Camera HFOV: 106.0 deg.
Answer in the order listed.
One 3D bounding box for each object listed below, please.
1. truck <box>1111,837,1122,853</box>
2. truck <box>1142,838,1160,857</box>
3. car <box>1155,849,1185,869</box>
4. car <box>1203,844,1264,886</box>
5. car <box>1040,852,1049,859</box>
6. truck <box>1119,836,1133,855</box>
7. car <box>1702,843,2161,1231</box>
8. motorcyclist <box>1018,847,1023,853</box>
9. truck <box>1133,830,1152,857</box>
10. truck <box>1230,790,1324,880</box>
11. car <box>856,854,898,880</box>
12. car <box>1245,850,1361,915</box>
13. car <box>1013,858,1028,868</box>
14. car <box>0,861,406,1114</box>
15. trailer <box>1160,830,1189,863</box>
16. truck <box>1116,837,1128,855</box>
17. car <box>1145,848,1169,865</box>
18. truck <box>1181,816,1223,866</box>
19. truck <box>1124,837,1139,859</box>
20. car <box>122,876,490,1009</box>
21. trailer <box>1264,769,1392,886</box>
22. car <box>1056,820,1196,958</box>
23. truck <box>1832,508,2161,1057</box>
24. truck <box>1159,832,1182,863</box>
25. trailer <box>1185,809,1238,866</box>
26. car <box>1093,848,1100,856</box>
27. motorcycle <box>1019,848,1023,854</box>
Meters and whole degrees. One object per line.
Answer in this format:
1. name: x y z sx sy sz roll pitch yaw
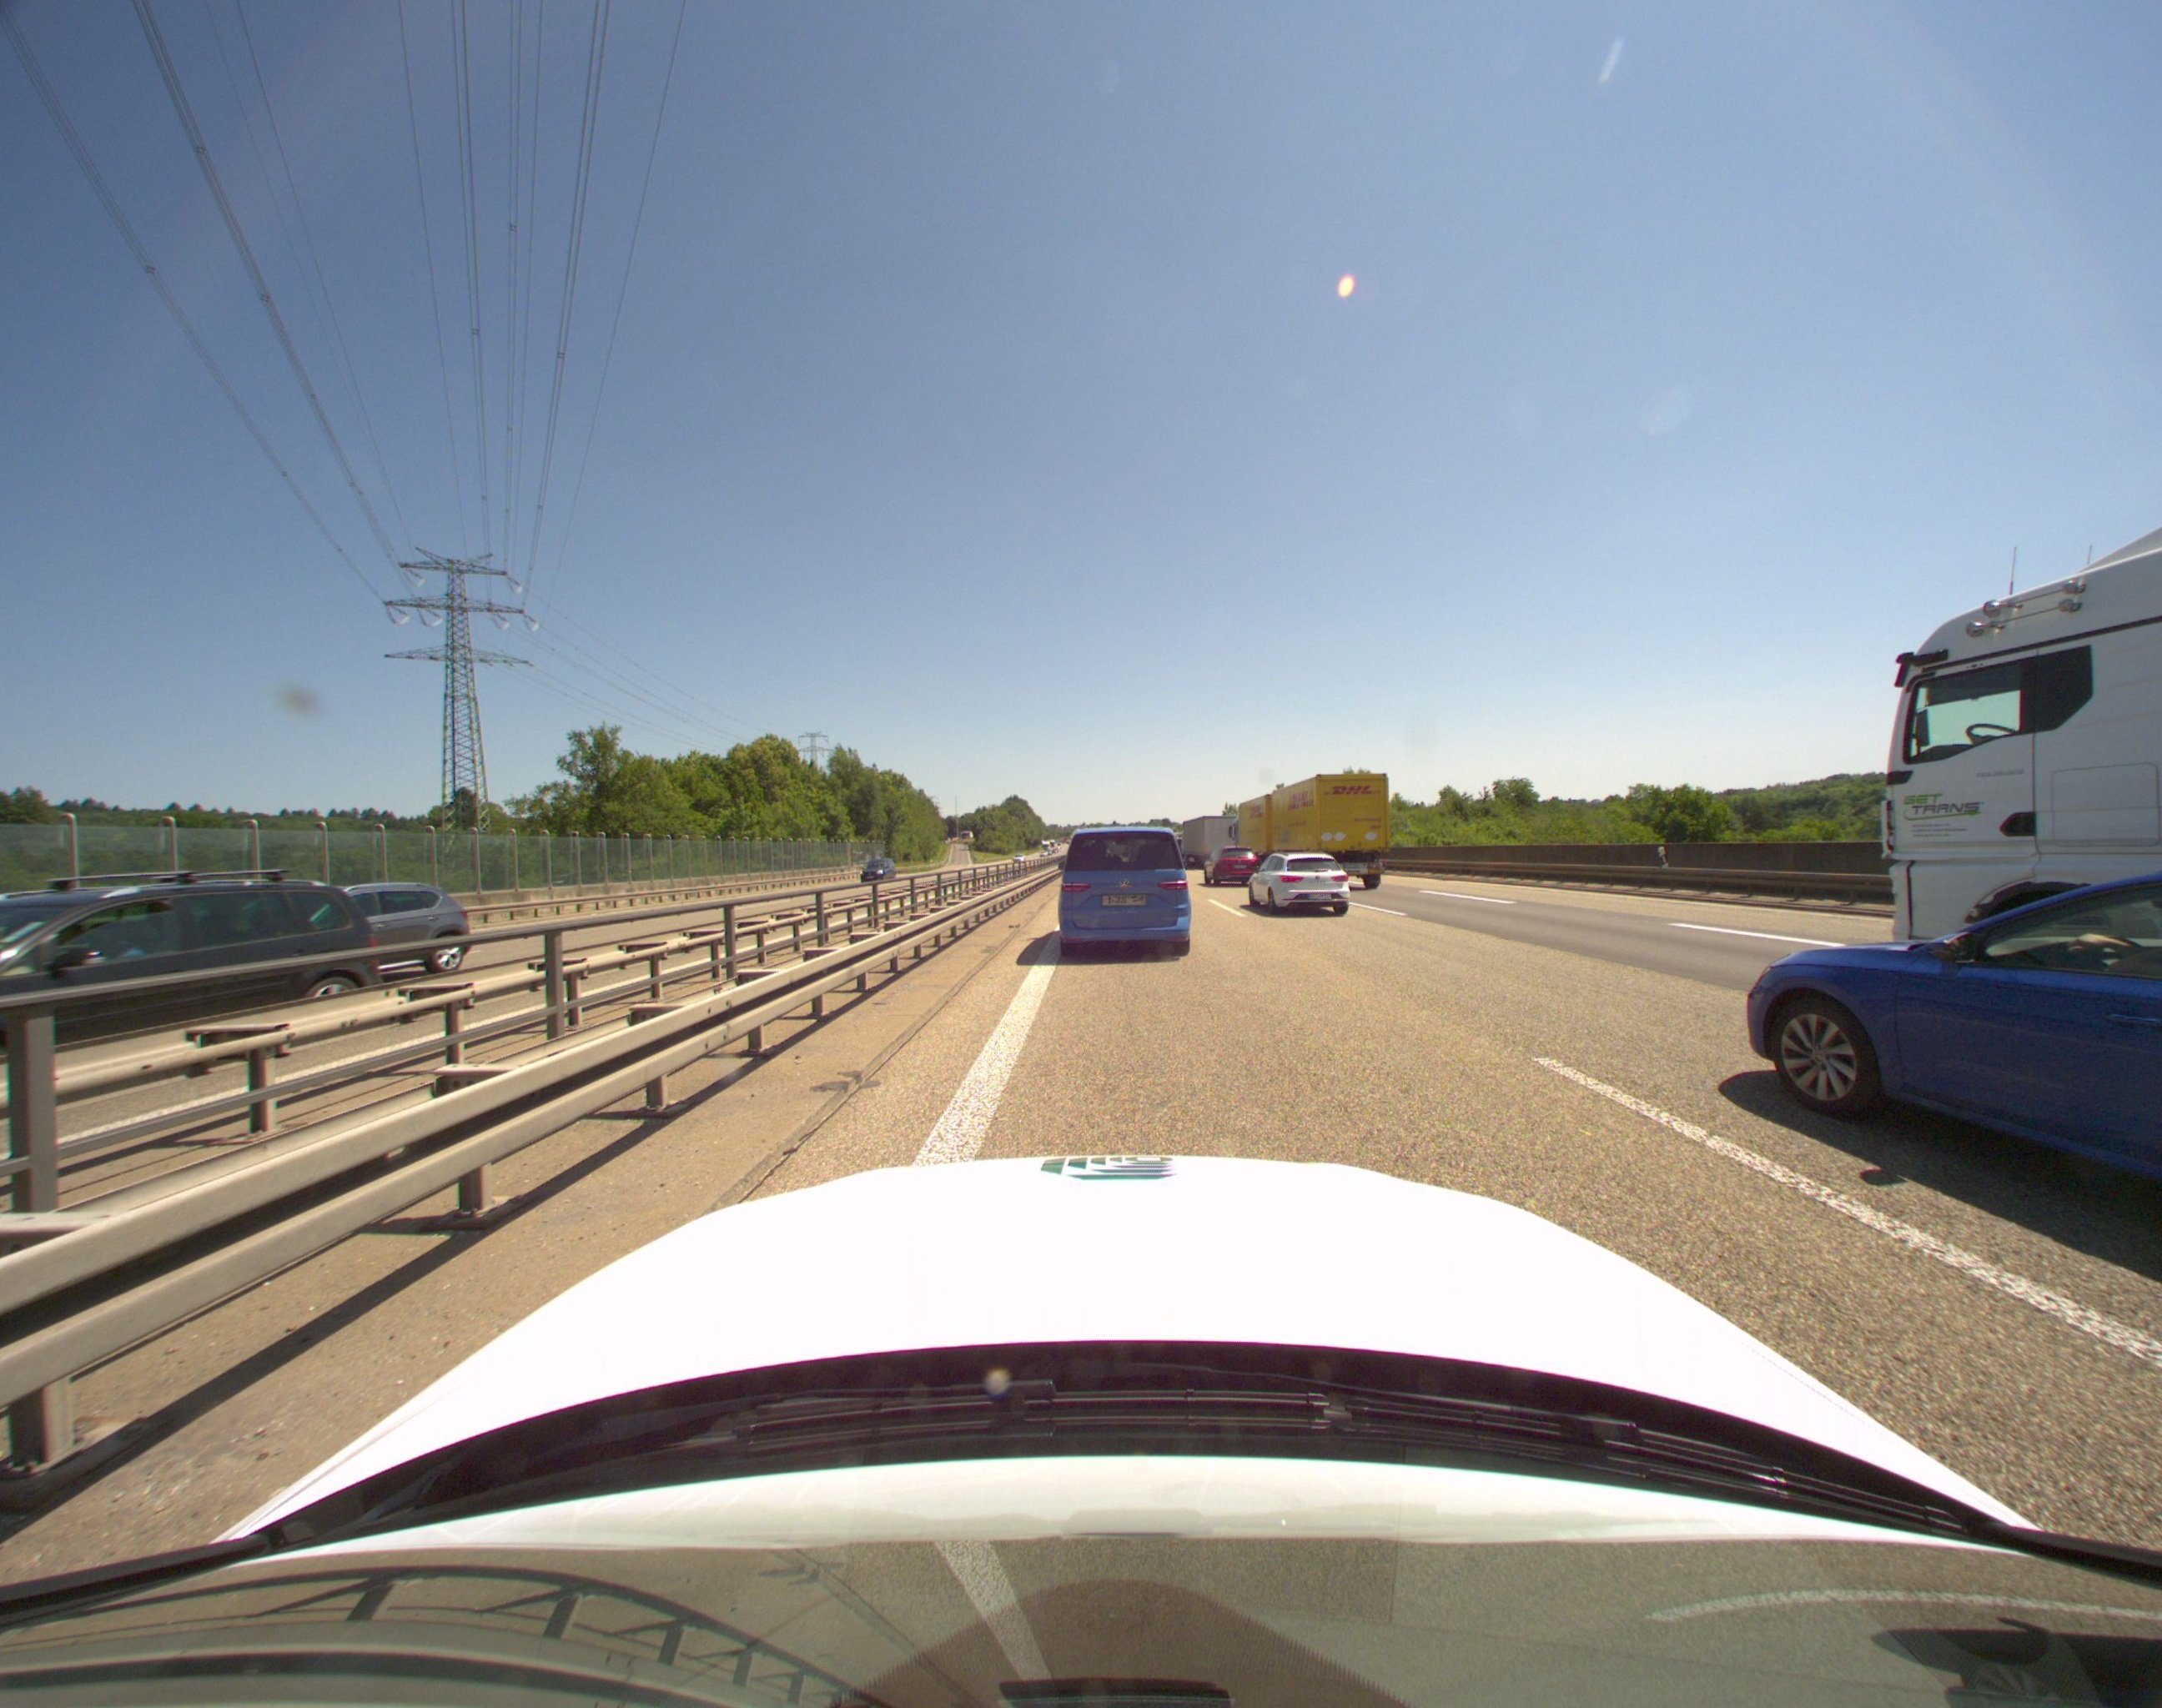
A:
1. truck: 11.662 -2.805 265.348 2.824 5.039 12.912 -3 0 0
2. truck: 12.240 -1.127 143.442 2.348 3.218 9.740 0 0 0
3. car: 6.640 0.372 61.032 1.832 1.414 4.000 -1 0 0
4. car: 6.257 0.424 33.792 1.844 1.608 4.002 -1 0 2
5. car: -8.681 0.326 195.323 1.709 1.434 4.177 -4 0 1
6. truck: 12.265 -2.236 222.257 2.824 4.885 13.219 -3 0 0
7. car: 4.892 0.680 3.118 1.703 1.440 4.502 -1 0 2
8. motorcyclist: -13.463 -0.880 182.133 0.895 1.441 1.083 -2 1 1
9. truck: 12.240 -2.005 162.880 2.824 5.040 11.145 0 0 0
10. truck: 9.885 -0.842 42.309 2.712 4.054 10.340 0 0 2
11. car: -14.937 0.916 59.845 1.776 1.785 4.304 -3 0 1
12. car: 5.249 0.616 19.804 1.774 1.387 4.190 -1 0 2
13. car: -9.199 1.417 124.179 1.903 1.394 4.166 -3 0 1
14. car: -8.407 0.985 6.931 1.748 1.721 4.102 -3 0 2
15. trailer: 11.101 -0.845 97.307 2.371 3.744 11.190 0 0 1
16. truck: 12.071 -2.320 241.612 2.824 5.373 12.553 0 0 0
17. car: 7.515 0.259 80.851 1.711 1.587 3.816 -2 0 -3
18. truck: 10.397 -1.079 70.575 2.758 4.095 6.987 0 0 2
19. truck: 12.063 -1.378 196.013 2.824 5.040 11.815 0 0 0
20. car: -11.598 1.216 12.658 1.748 1.547 4.001 -4 0 2
21. trailer: 9.543 -0.884 32.679 2.691 4.023 8.934 0 0 2
22. car: 0.675 0.464 13.049 1.875 1.837 4.002 -1 0 2
23. truck: 8.470 -0.490 2.325 2.841 3.603 10.769 0 0 1
24. truck: 11.246 -0.799 103.128 2.359 3.722 6.034 0 0 1
25. trailer: 10.244 -1.201 65.249 2.745 4.146 11.315 0 0 2
26. car: 4.229 -0.557 218.927 1.986 2.014 4.001 0 0 1
27. motorcycle: -13.445 -0.679 182.152 0.699 1.070 2.306 -2 1 2
